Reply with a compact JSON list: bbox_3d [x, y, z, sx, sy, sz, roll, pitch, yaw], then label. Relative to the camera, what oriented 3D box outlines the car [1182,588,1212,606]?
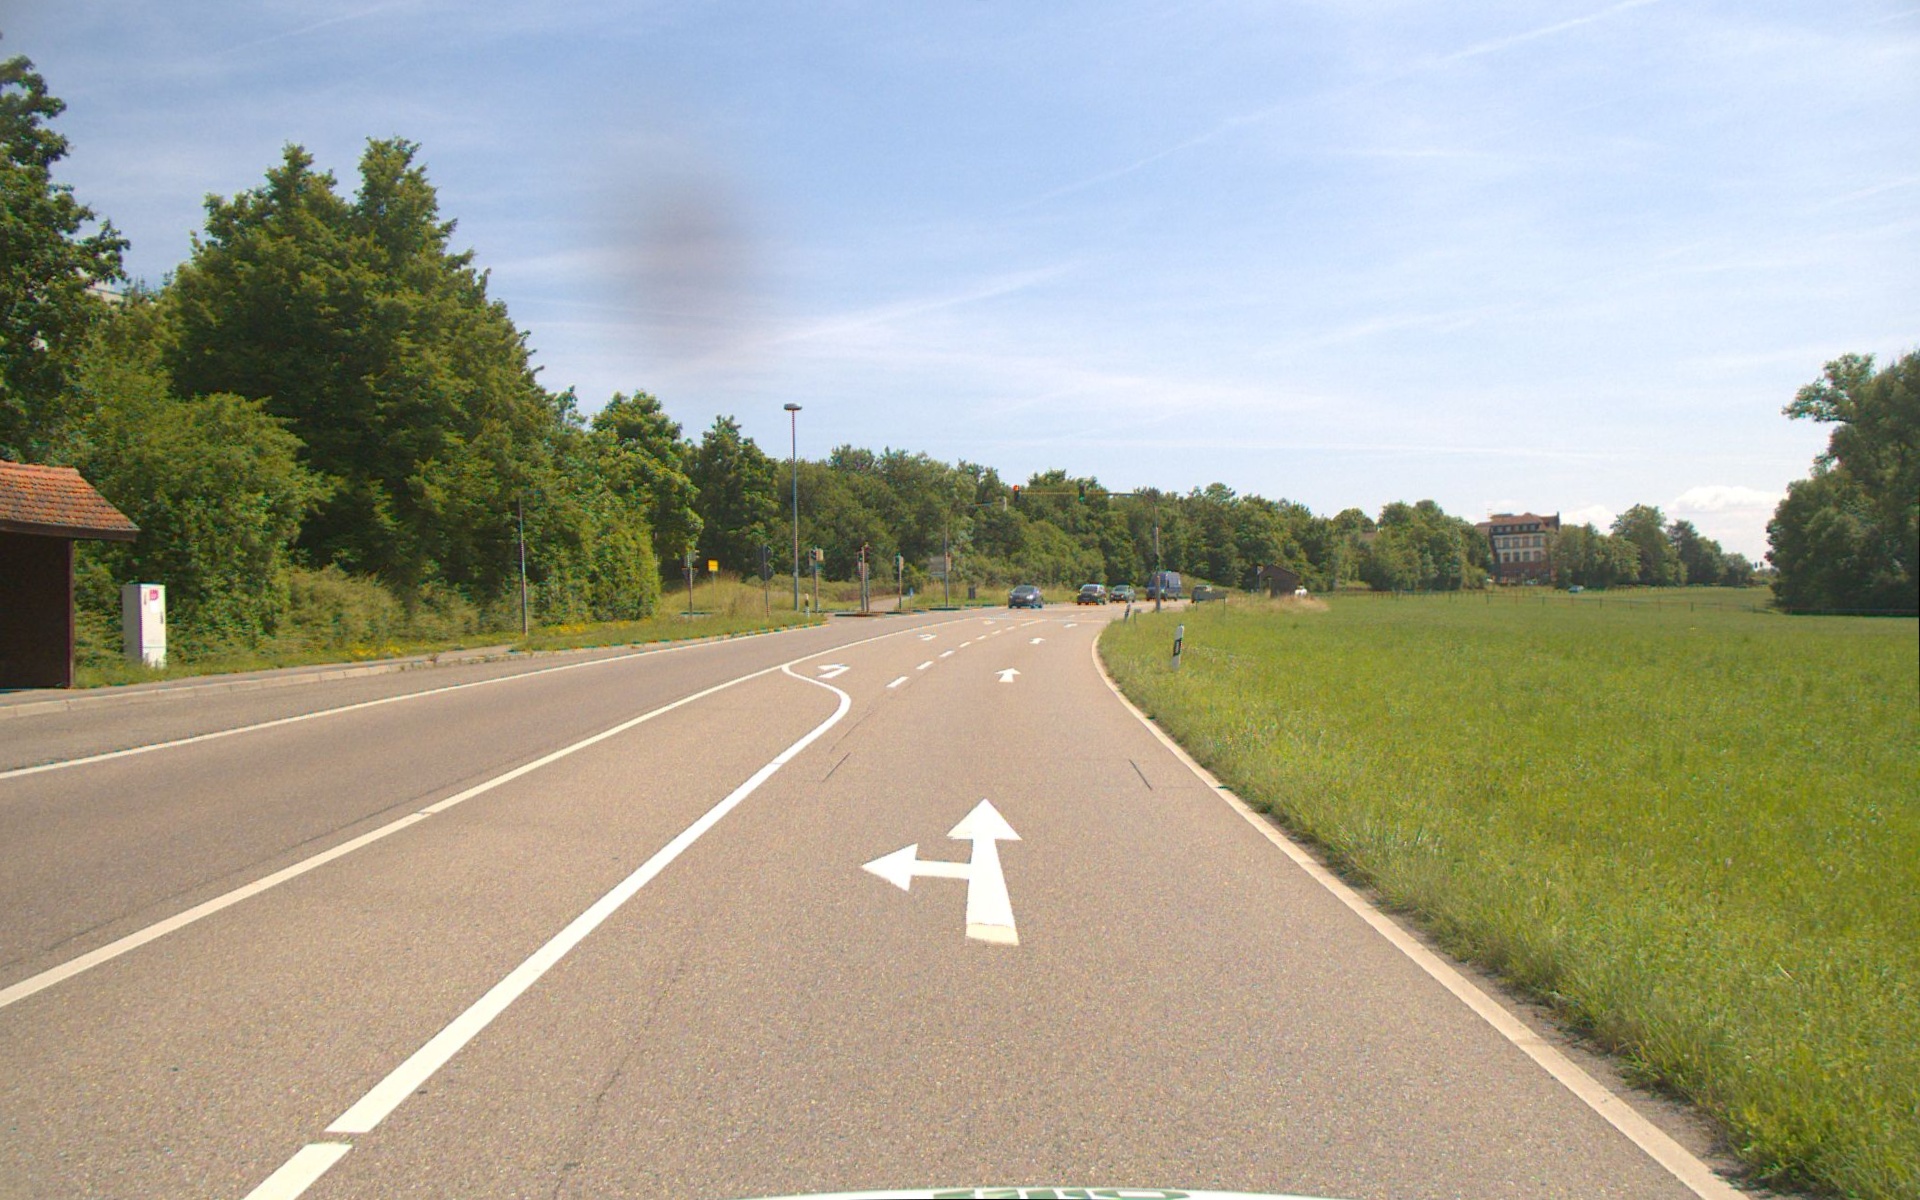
[{"bbox_3d":[21.335,-0.278,148.710,1.952,1.601,4.001,0,0,19],"label":"car"}]

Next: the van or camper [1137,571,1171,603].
[{"bbox_3d":[18.999,-1.352,161.774,2.192,2.964,7.252,0,2,16],"label":"van or camper"}]

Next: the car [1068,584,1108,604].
[{"bbox_3d":[10.080,-0.456,130.202,1.934,1.589,4.188,0,0,22],"label":"car"}]

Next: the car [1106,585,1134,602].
[{"bbox_3d":[14.063,-0.553,145.574,1.671,1.509,3.834,0,0,18],"label":"car"}]

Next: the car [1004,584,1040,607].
[{"bbox_3d":[4.148,-0.308,109.748,1.753,1.500,4.314,1,0,11],"label":"car"}]
